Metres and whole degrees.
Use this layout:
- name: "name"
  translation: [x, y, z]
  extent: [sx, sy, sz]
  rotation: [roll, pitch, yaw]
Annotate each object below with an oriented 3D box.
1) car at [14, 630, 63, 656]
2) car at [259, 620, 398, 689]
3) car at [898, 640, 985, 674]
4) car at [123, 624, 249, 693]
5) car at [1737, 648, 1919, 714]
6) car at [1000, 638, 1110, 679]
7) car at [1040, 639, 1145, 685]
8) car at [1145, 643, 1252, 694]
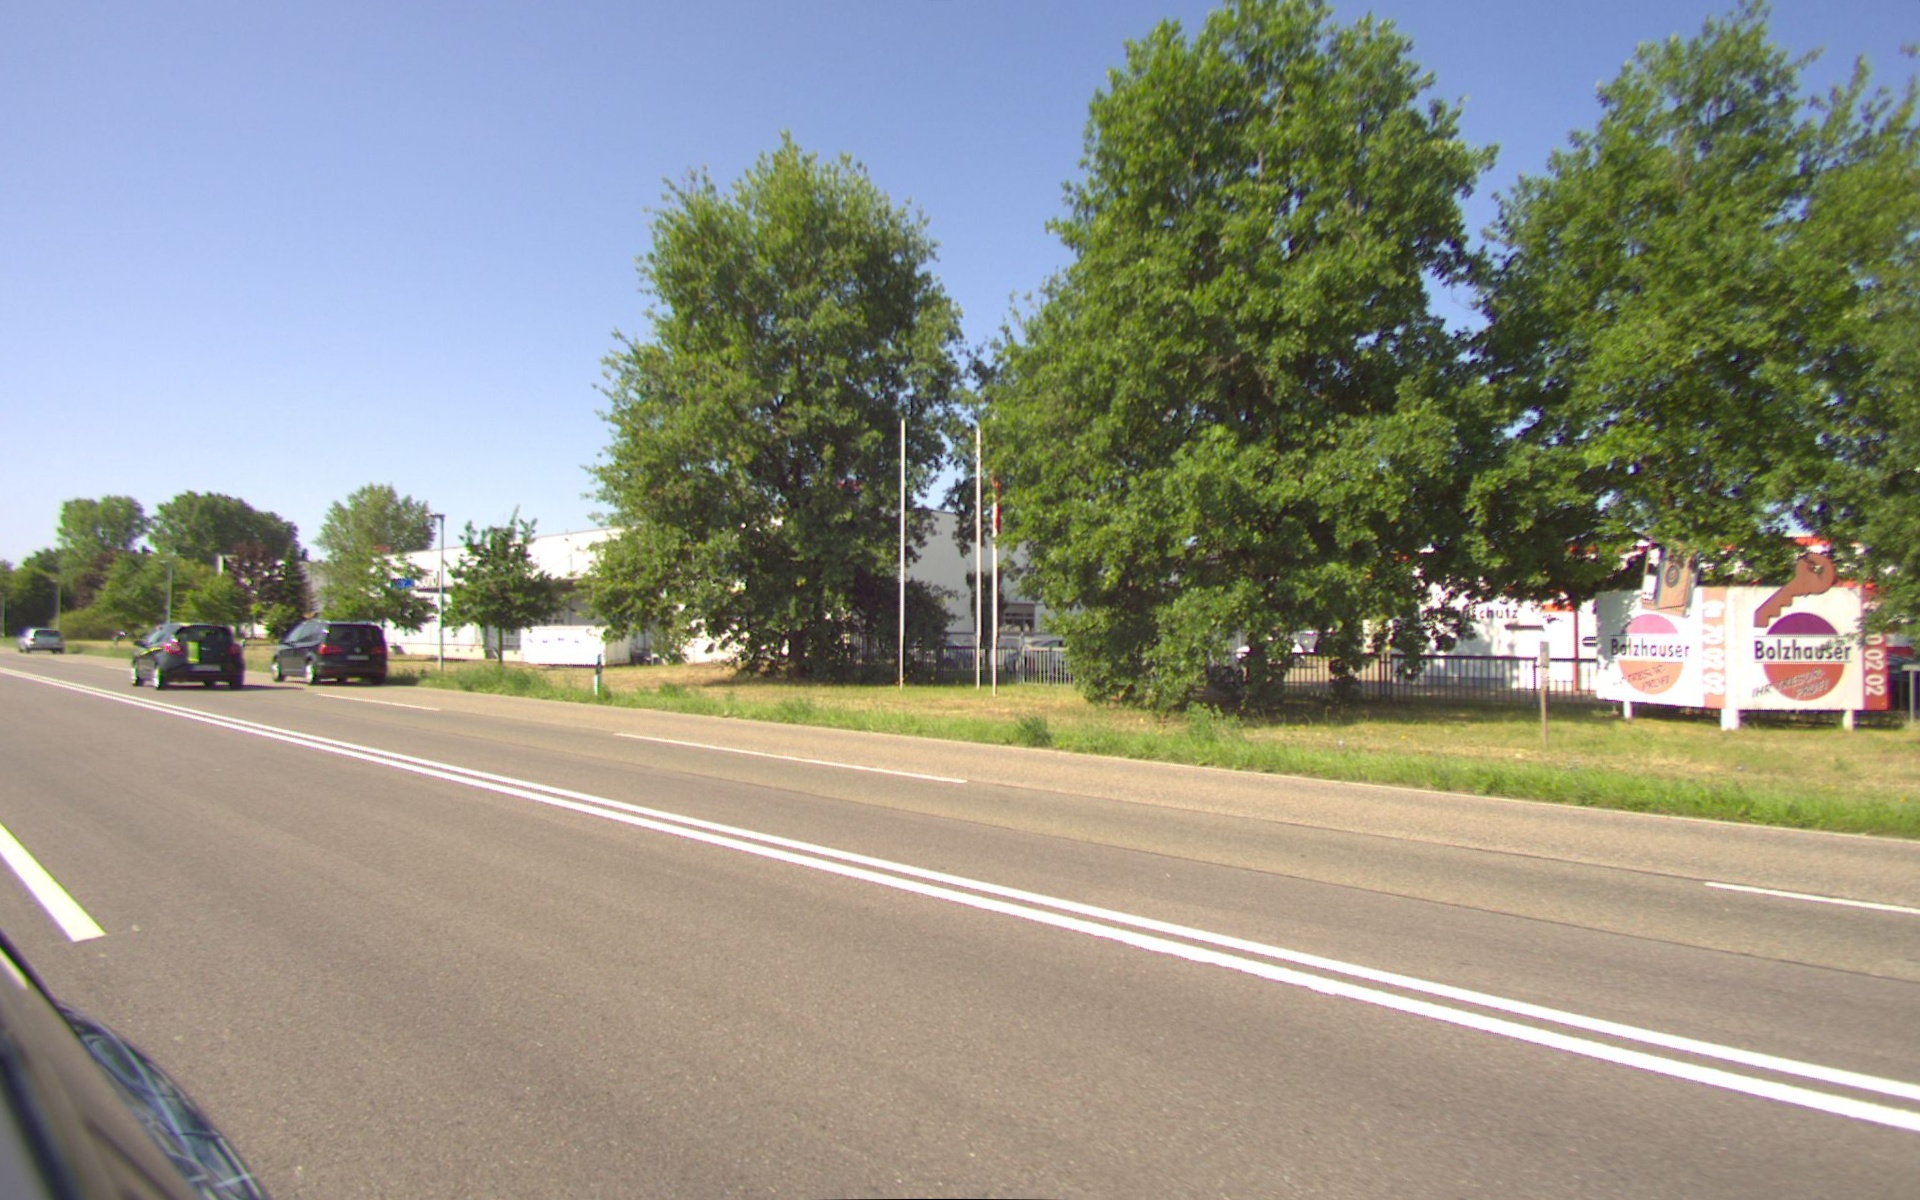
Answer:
- name: "car"
  translation: [-53.367, 2.488, 58.584]
  extent: [3.997, 1.453, 1.581]
  rotation: [-1, -4, 41]
- name: "car"
  translation: [-16.837, 1.426, 26.897]
  extent: [4.386, 1.684, 1.807]
  rotation: [-1, -4, 40]
- name: "car"
  translation: [-0.837, 2.459, 44.379]
  extent: [3.720, 1.400, 1.619]
  rotation: [-1, -2, 41]
- name: "car"
  translation: [-17.916, 1.333, 23.373]
  extent: [3.773, 1.461, 1.501]
  rotation: [-2, -4, 41]
- name: "car"
  translation: [20.396, 1.787, 22.705]
  extent: [4.657, 1.360, 1.770]
  rotation: [-1, -3, 39]
- name: "car"
  translation: [3.577, 2.208, 38.435]
  extent: [3.941, 1.512, 1.741]
  rotation: [0, -2, -2]
- name: "car"
  translation: [4.661, 2.116, 35.202]
  extent: [1.756, 1.512, 3.946]
  rotation: [-2, -3, 40]
- name: "car"
  translation: [7.685, 2.135, 32.441]
  extent: [1.756, 1.512, 3.946]
  rotation: [-2, -3, 40]
